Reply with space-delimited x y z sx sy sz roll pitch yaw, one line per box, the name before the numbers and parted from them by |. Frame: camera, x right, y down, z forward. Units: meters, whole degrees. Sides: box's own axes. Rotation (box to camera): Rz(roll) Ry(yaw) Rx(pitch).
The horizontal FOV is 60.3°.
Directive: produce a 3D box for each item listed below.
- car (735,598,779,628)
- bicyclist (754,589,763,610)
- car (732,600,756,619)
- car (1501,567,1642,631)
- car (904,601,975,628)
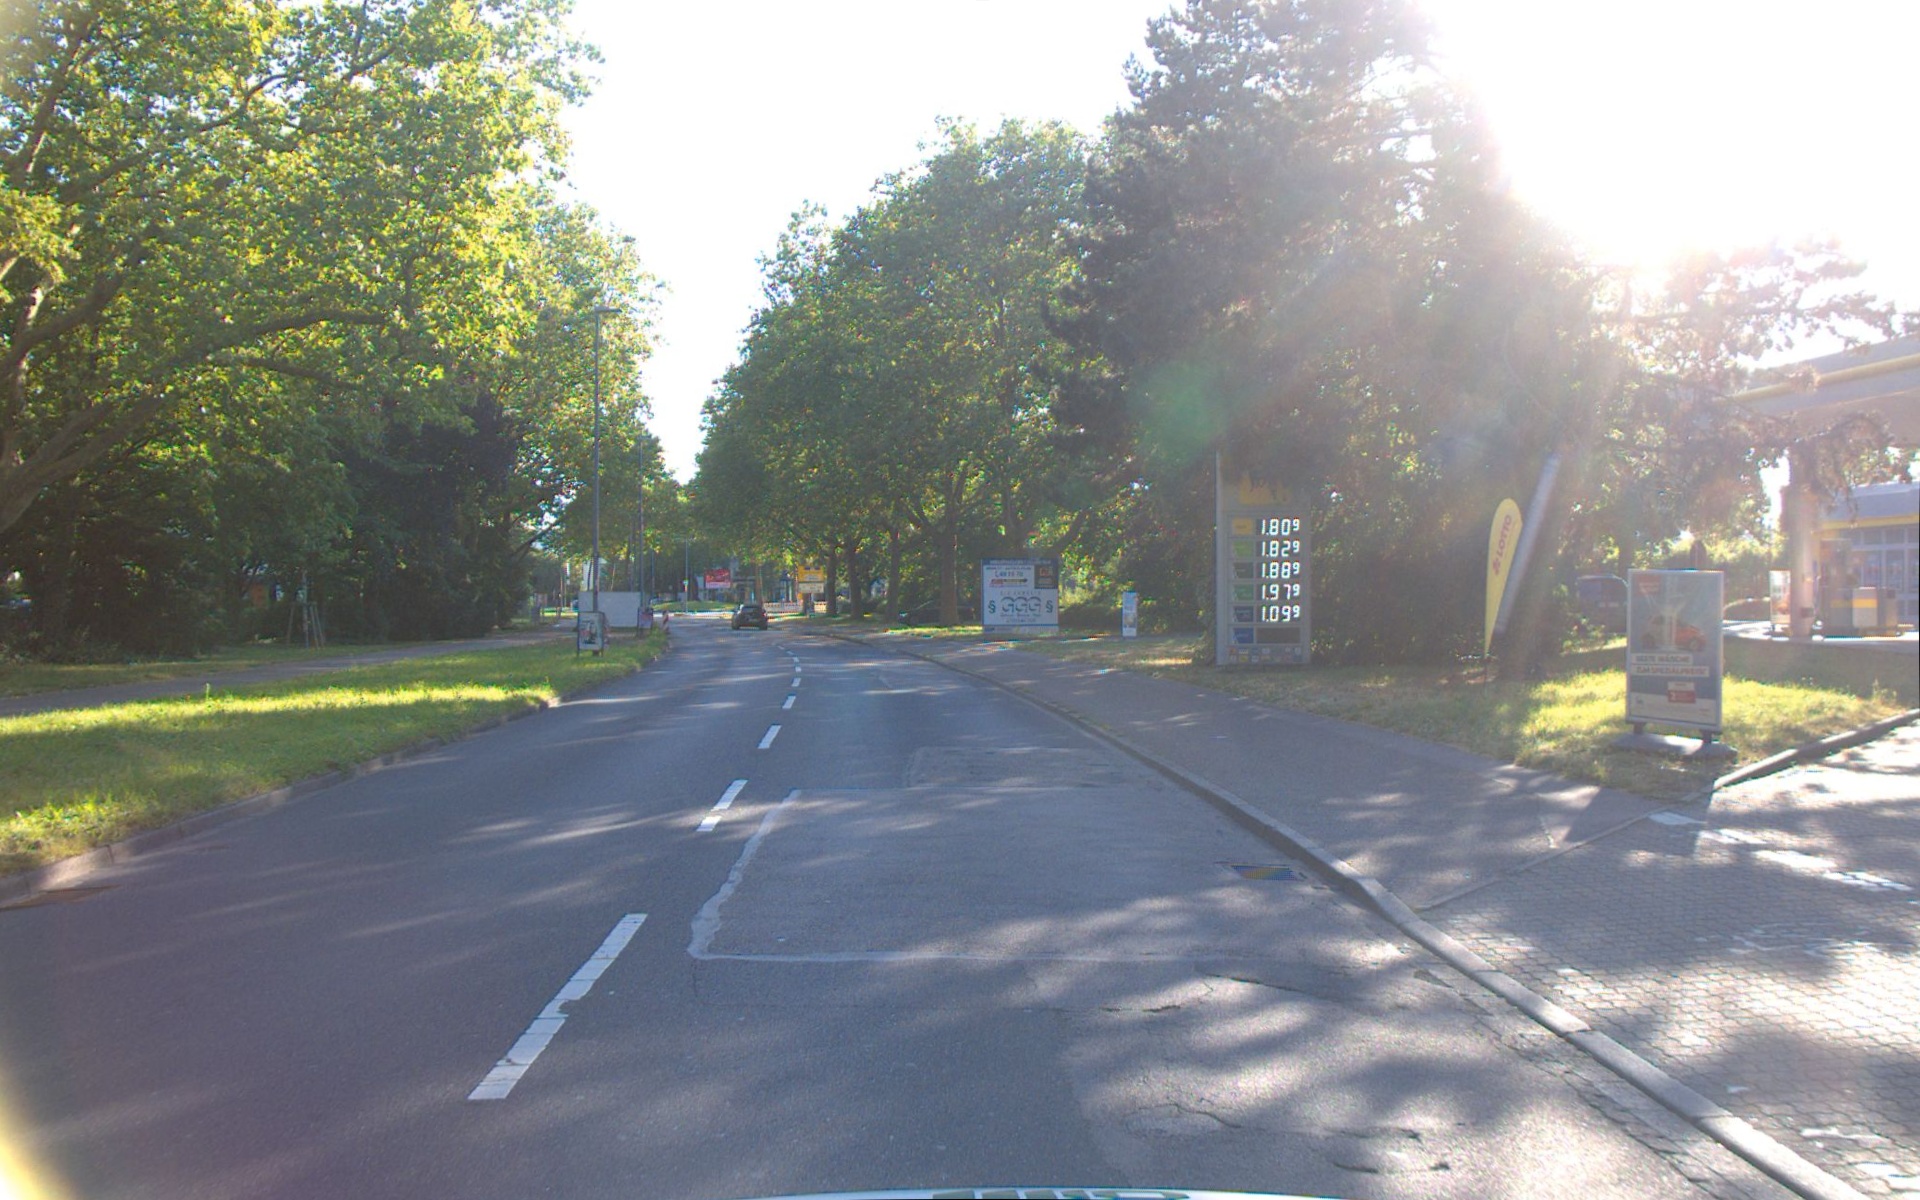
car | -11.357 0.724 92.623 1.801 1.633 3.864 -1 0 2
bicyclist | -16.877 -0.070 138.736 0.639 1.735 0.869 1 0 -11
car | -24.222 1.036 185.620 1.951 2.049 4.002 0 0 5
car | 14.637 -0.031 39.804 1.804 1.445 3.998 0 0 -2
car | -1.222 0.843 96.180 3.913 1.468 1.757 -1 0 -9
